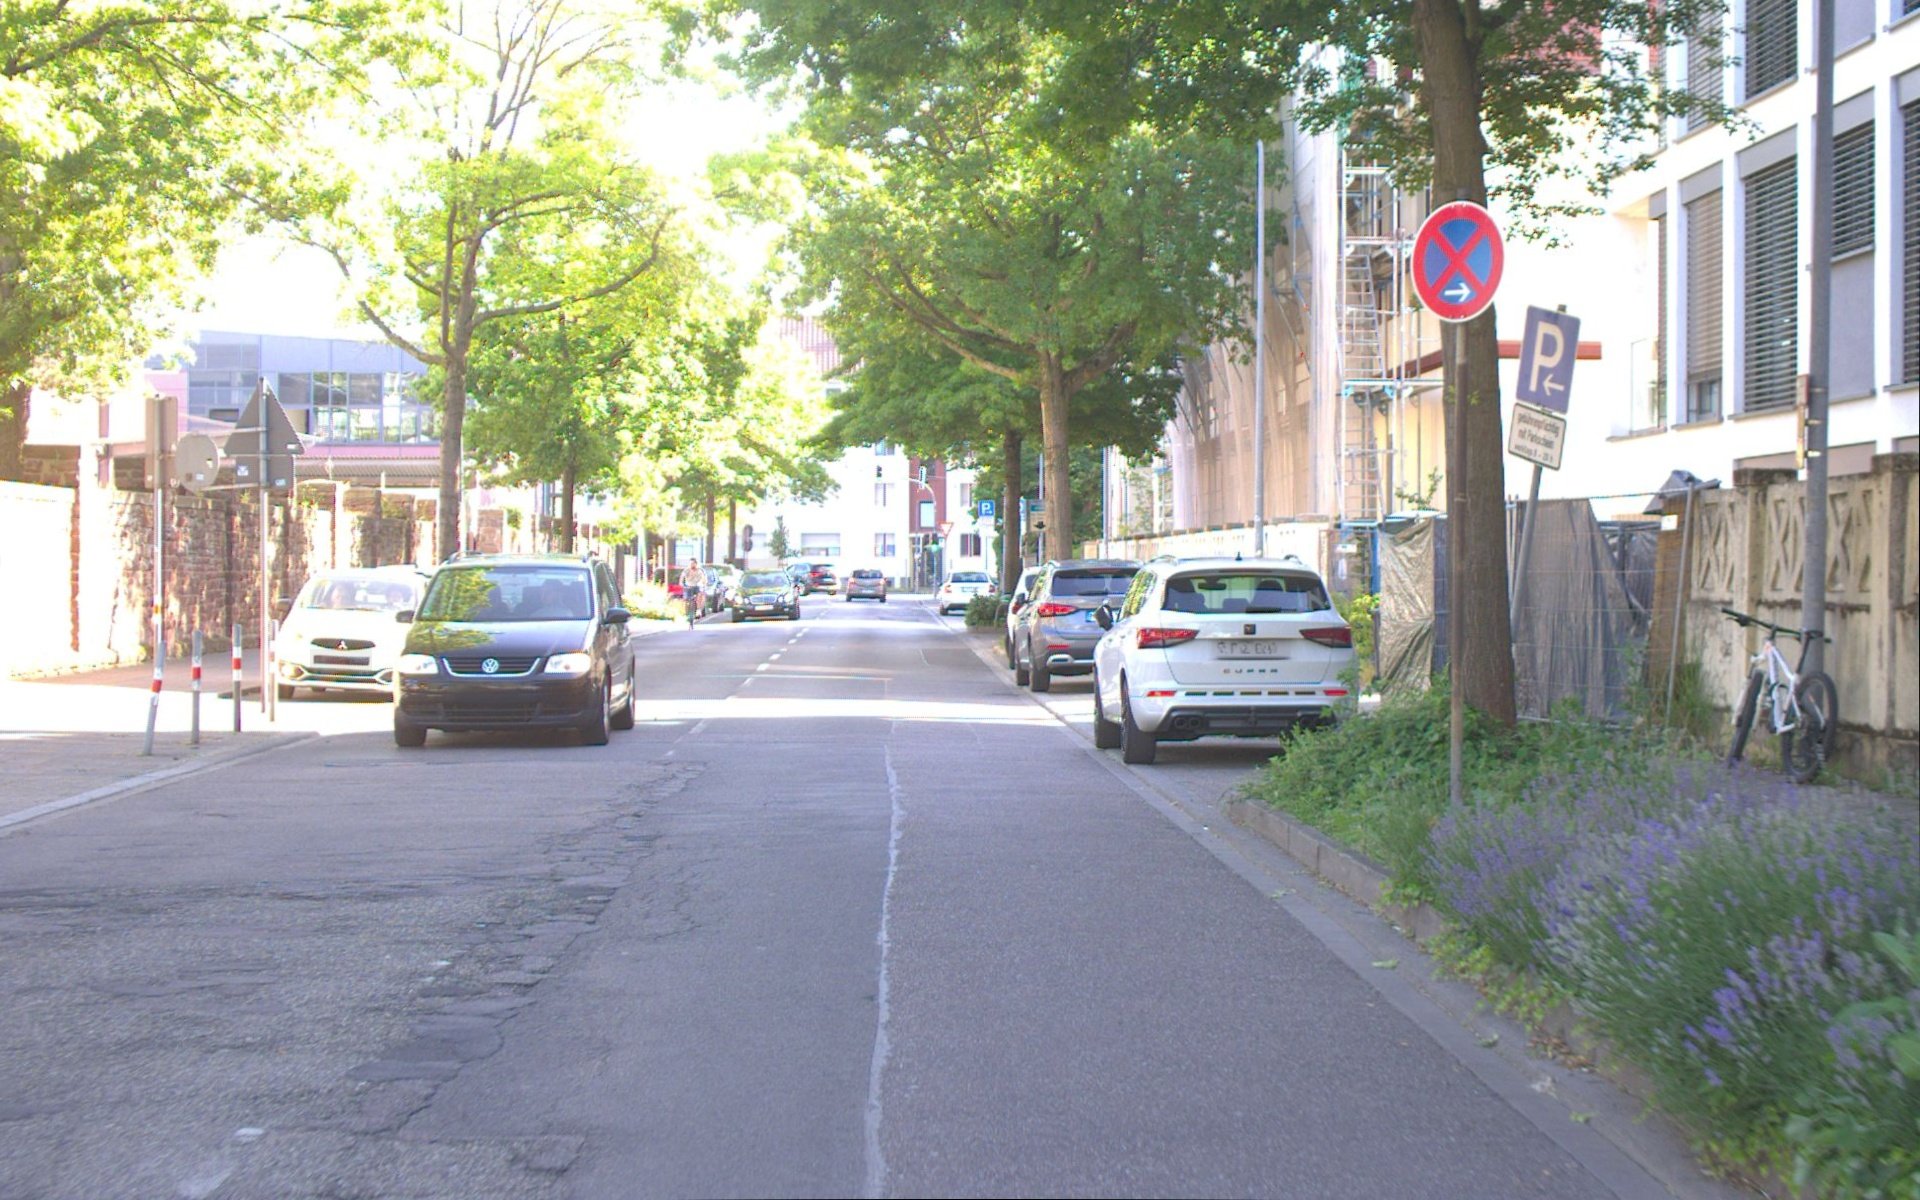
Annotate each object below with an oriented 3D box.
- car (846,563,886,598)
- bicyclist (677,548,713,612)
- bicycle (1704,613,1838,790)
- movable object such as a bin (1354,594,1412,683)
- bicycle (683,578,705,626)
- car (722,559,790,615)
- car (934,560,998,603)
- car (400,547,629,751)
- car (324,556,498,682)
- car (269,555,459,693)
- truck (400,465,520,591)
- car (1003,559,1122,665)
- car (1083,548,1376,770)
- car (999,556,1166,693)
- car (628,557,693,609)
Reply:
[{"bbox_3d":[-4.073,-0.853,149.125,1.639,1.438,3.421,2,0,-1],"label":"car"},{"bbox_3d":[-6.421,-0.486,83.314,0.721,1.517,1.005,2,0,1],"label":"bicyclist"},{"bbox_3d":[5.100,0.617,21.696,0.336,1.037,1.831,1,0,-2],"label":"bicycle"},{"bbox_3d":[5.011,0.452,40.773,0.598,1.024,0.564,2,0,2],"label":"movable object such as a bin"},{"bbox_3d":[-6.439,0.040,83.249,0.357,1.117,1.866,2,0,0],"label":"bicycle"},{"bbox_3d":[-5.715,-0.390,96.457,1.821,1.431,3.970,3,1,-3],"label":"car"},{"bbox_3d":[0.173,-0.587,108.801,1.832,1.318,4.496,0,1,-2],"label":"car"},{"bbox_3d":[-3.790,0.368,29.778,1.643,1.606,4.022,-1,1,-3],"label":"car"},{"bbox_3d":[-7.269,0.215,45.835,1.676,1.506,3.850,3,1,-1],"label":"car"},{"bbox_3d":[-6.761,0.233,39.287,1.574,1.397,3.751,4,1,-2],"label":"car"},{"bbox_3d":[-15.495,-2.199,106.996,2.732,3.698,7.429,2,0,-2],"label":"truck"},{"bbox_3d":[1.559,0.150,52.421,1.724,1.505,3.992,-1,1,2],"label":"car"},{"bbox_3d":[2.081,0.414,27.640,1.792,1.610,4.127,1,1,-3],"label":"car"},{"bbox_3d":[1.498,0.269,43.517,1.712,1.633,4.303,0,1,-3],"label":"car"},{"bbox_3d":[-8.797,-0.507,101.195,1.608,1.454,3.708,2,0,-1],"label":"car"}]
